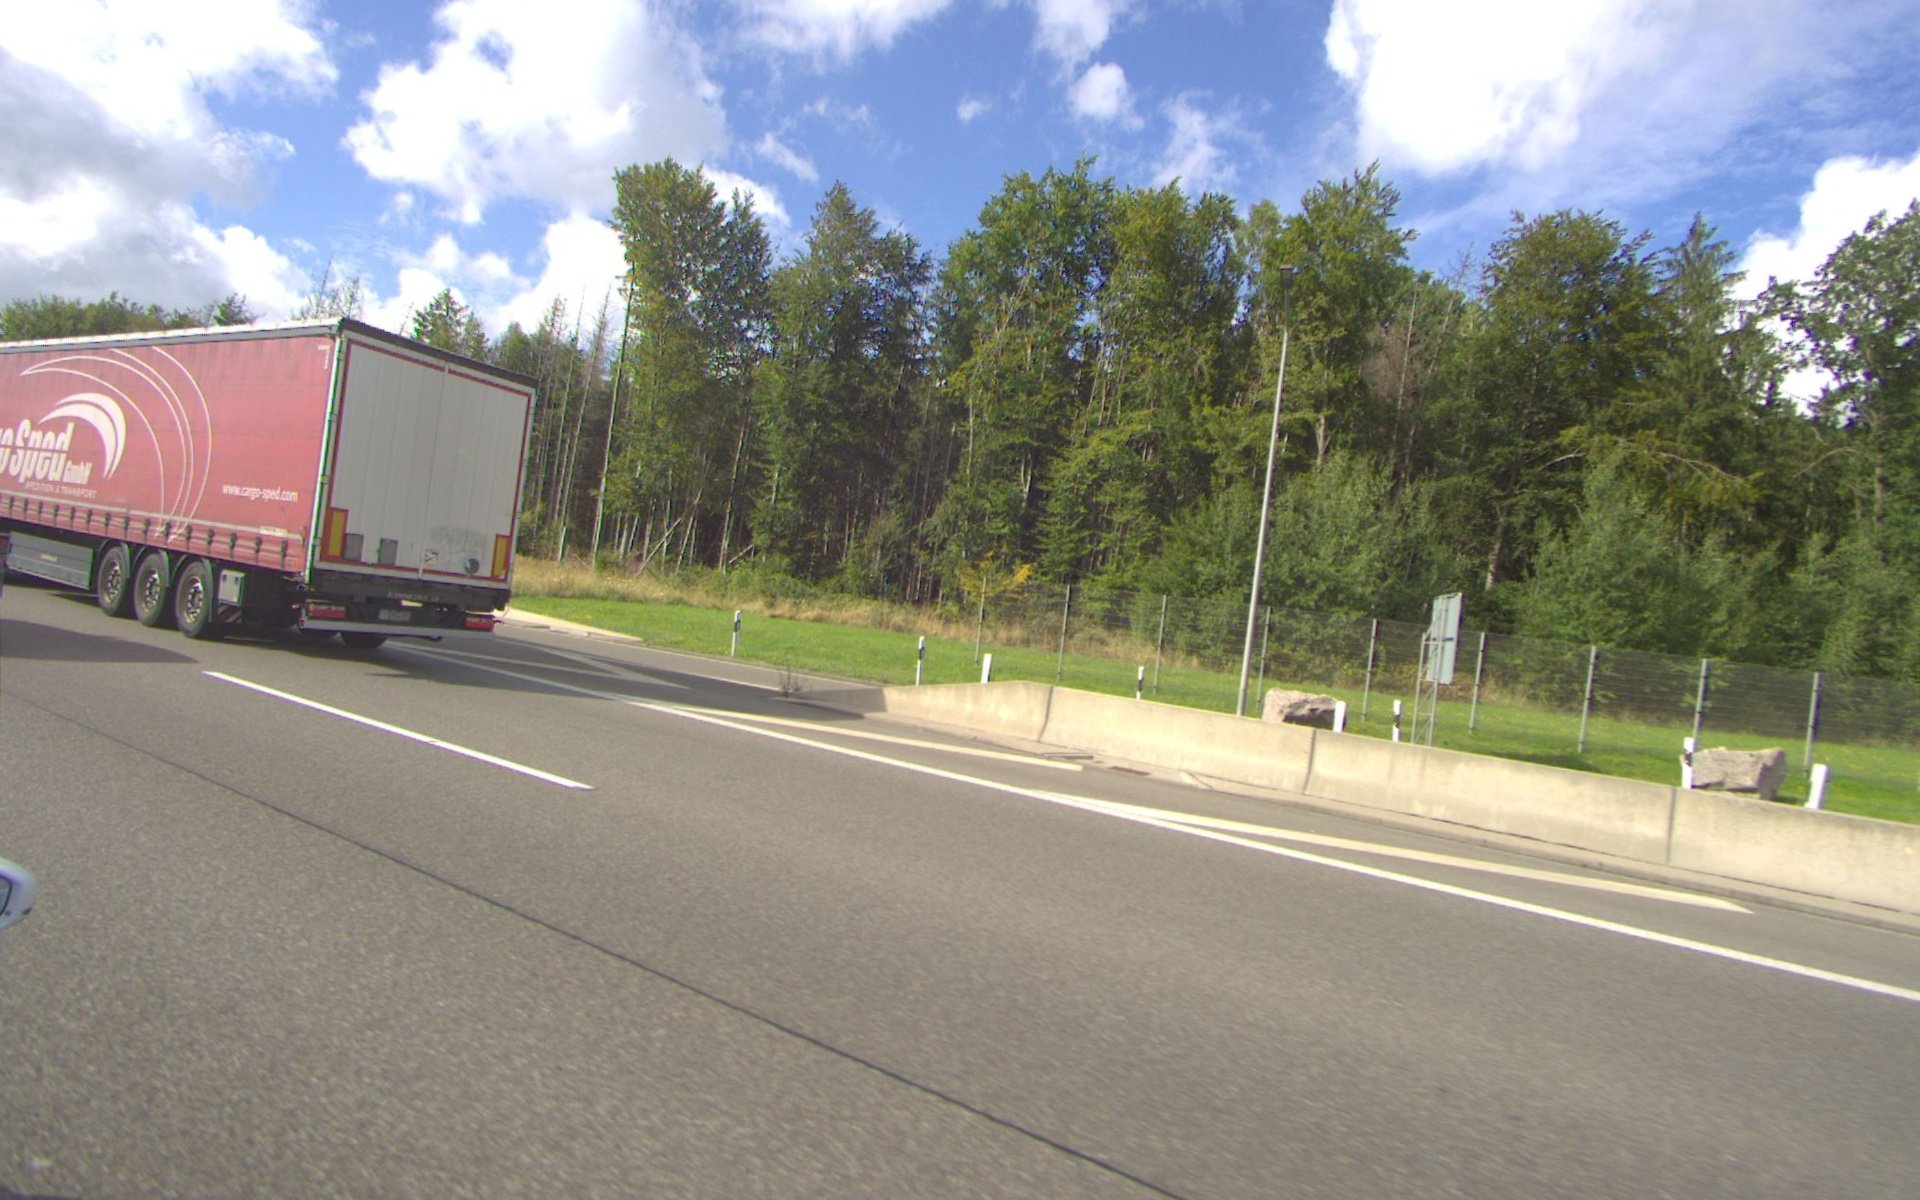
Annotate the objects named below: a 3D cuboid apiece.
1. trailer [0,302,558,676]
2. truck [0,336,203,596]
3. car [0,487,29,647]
[{"bbox_3d":[-12.035,-1.828,15.874,13.486,4.093,2.778,7,-1,32],"label":"trailer"},{"bbox_3d":[-17.706,-2.523,19.395,5.677,4.094,2.778,7,-1,32],"label":"truck"},{"bbox_3d":[-11.540,-0.584,10.308,4.384,1.549,1.775,7,0,32],"label":"car"}]
